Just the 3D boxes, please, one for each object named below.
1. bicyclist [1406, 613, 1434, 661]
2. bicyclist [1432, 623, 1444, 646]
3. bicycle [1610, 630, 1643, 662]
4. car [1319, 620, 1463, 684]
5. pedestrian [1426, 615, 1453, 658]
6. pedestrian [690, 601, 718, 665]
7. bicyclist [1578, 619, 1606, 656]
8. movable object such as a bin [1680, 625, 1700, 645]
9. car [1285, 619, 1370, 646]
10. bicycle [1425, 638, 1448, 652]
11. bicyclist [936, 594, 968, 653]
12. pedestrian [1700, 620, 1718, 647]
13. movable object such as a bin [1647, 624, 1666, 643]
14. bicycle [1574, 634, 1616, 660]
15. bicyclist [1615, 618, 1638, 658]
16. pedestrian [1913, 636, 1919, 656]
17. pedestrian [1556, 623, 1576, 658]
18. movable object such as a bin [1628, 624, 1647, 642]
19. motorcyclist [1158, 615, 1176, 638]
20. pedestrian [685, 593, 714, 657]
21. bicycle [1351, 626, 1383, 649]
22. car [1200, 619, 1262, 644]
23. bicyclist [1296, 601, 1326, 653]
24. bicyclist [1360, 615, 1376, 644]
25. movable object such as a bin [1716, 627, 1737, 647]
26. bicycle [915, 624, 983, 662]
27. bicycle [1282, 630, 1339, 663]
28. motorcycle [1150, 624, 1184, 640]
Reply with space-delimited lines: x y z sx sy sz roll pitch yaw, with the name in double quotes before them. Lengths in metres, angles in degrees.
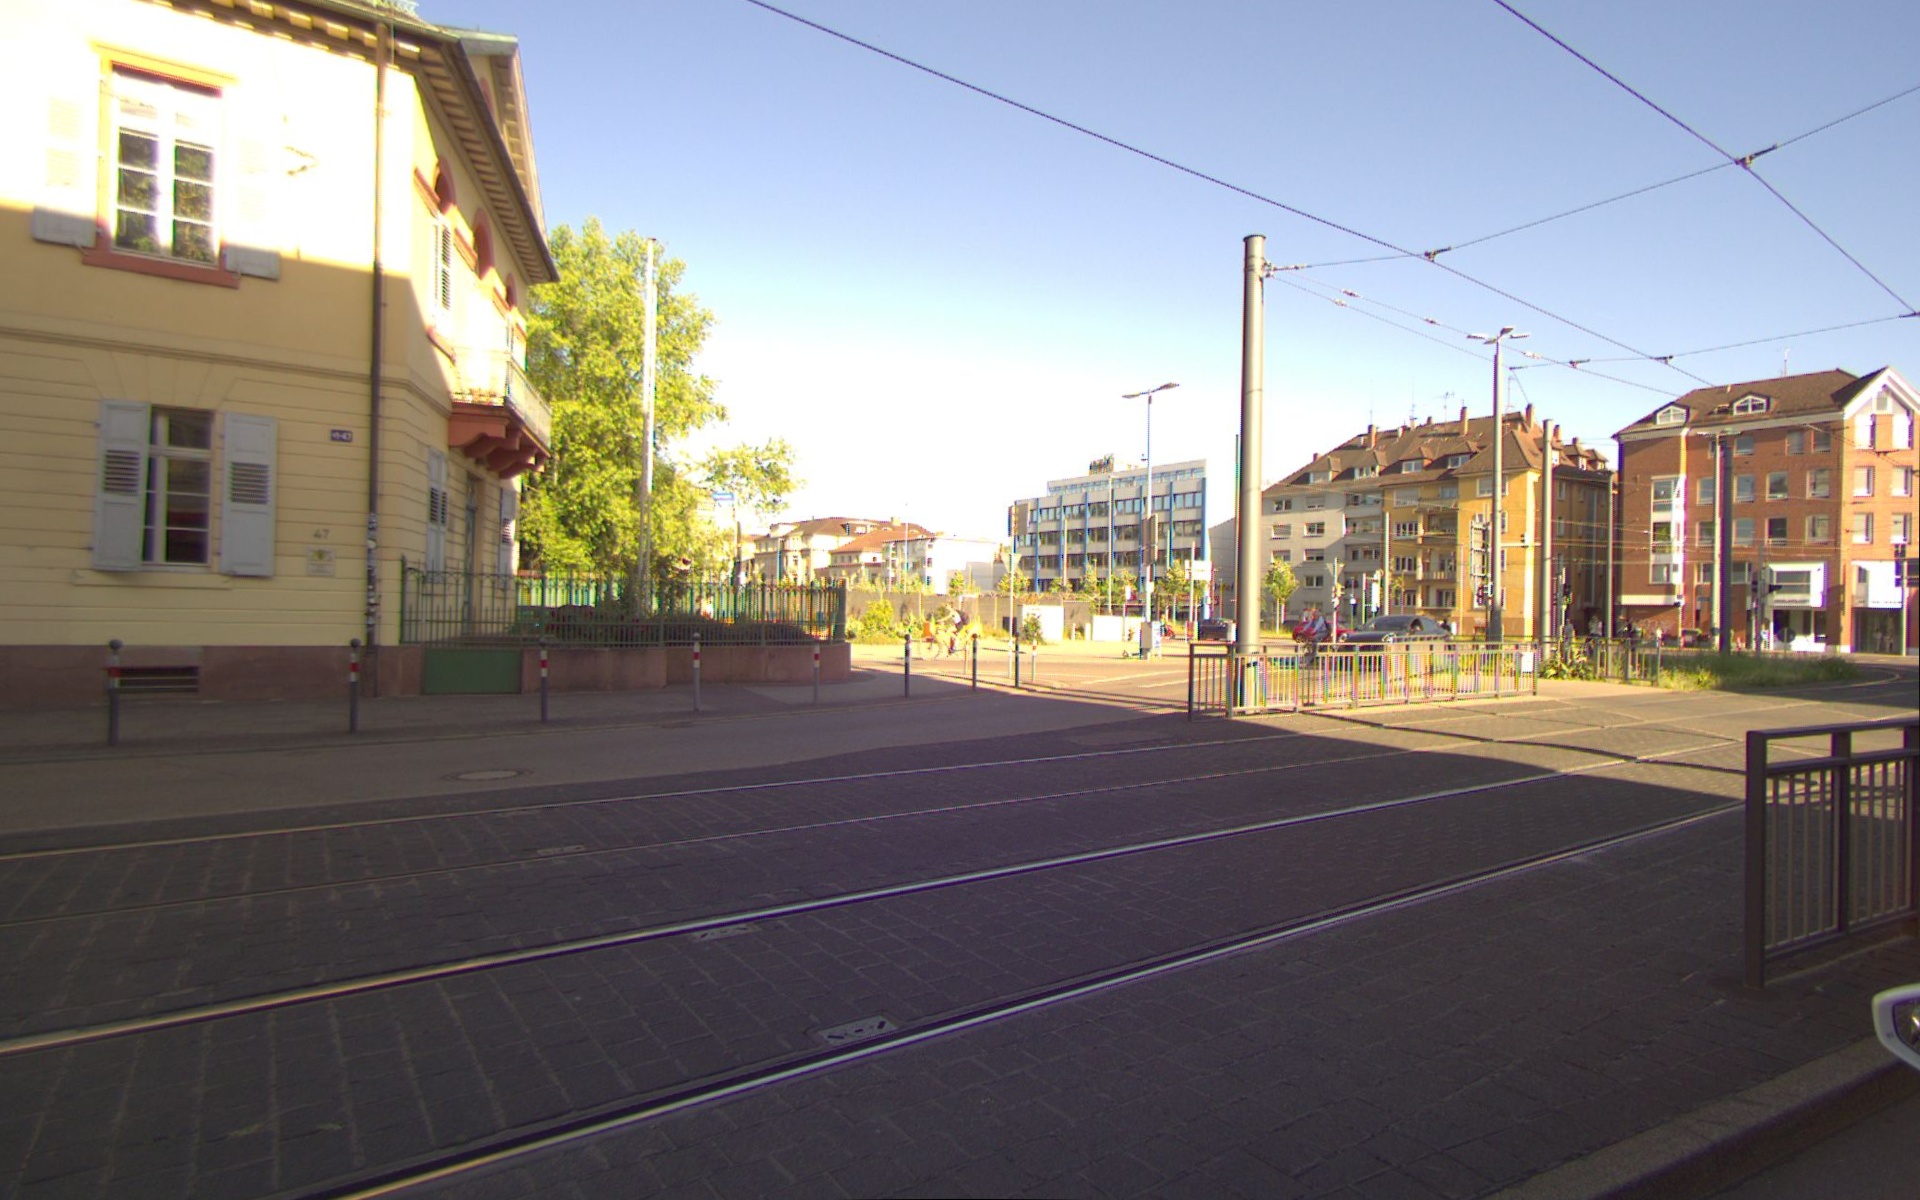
"bicyclist" 16.403 1.329 35.847 0.761 1.695 0.518 2 0 -29
"bicyclist" 27.541 1.997 57.872 0.453 1.333 0.397 2 0 44
"bicycle" 28.556 1.978 43.013 2.009 1.308 0.569 2 0 -39
"car" 11.859 1.405 27.552 4.080 1.581 1.674 2 0 -34
"pedestrian" 22.244 1.682 46.588 0.786 1.959 0.721 2 0 -21
"pedestrian" -7.492 0.972 29.419 0.694 1.841 0.593 2 0 -19
"bicyclist" 26.185 1.549 41.605 0.721 1.473 0.661 2 0 -28
"movable object such as a bin" 56.605 2.708 77.922 1.087 1.456 0.988 2 0 -39
"car" 21.803 1.919 59.765 1.768 1.529 4.513 2 -2 -39
"bicycle" 27.456 2.603 57.914 1.160 0.774 0.318 2 0 45
"bicyclist" -0.231 0.681 29.202 0.757 1.695 0.525 2 0 -15
"pedestrian" 49.156 2.181 65.894 0.921 1.733 0.690 2 0 -36
"movable object such as a bin" 55.362 2.672 79.834 1.087 1.456 0.988 2 0 -39
"bicycle" 26.357 1.958 41.698 1.862 1.027 0.647 2 0 -29
"bicyclist" 28.530 1.638 42.986 0.799 1.671 0.584 2 0 -38
"pedestrian" 77.088 3.726 80.313 0.848 1.589 0.886 2 0 -8
"pedestrian" 30.152 2.001 49.979 0.700 1.711 0.619 -1 2 -42
"movable object such as a bin" 54.497 2.662 80.822 1.087 1.456 0.988 2 0 -39
"motorcyclist" 14.348 1.866 69.676 0.775 1.544 0.914 2 0 -36
"pedestrian" -7.807 0.739 30.049 0.728 1.876 0.704 2 0 -19
"bicycle" 22.046 2.029 54.427 0.608 1.148 1.481 2 0 -43
"car" 17.639 2.054 65.469 1.560 1.491 3.673 2 0 -36
"bicyclist" 11.624 0.890 33.273 0.759 1.695 0.520 2 0 -21
"bicyclist" 22.094 1.591 54.380 0.606 1.513 0.608 2 0 -44
"movable object such as a bin" 57.992 2.796 76.015 1.087 1.456 0.988 2 0 -39
"bicycle" -0.325 1.240 29.181 1.864 1.027 0.530 2 0 -14
"bicycle" 11.622 1.549 33.285 1.857 1.027 0.528 2 0 -22
"motorcycle" 14.352 2.222 69.666 0.784 0.997 2.342 2 0 -36
